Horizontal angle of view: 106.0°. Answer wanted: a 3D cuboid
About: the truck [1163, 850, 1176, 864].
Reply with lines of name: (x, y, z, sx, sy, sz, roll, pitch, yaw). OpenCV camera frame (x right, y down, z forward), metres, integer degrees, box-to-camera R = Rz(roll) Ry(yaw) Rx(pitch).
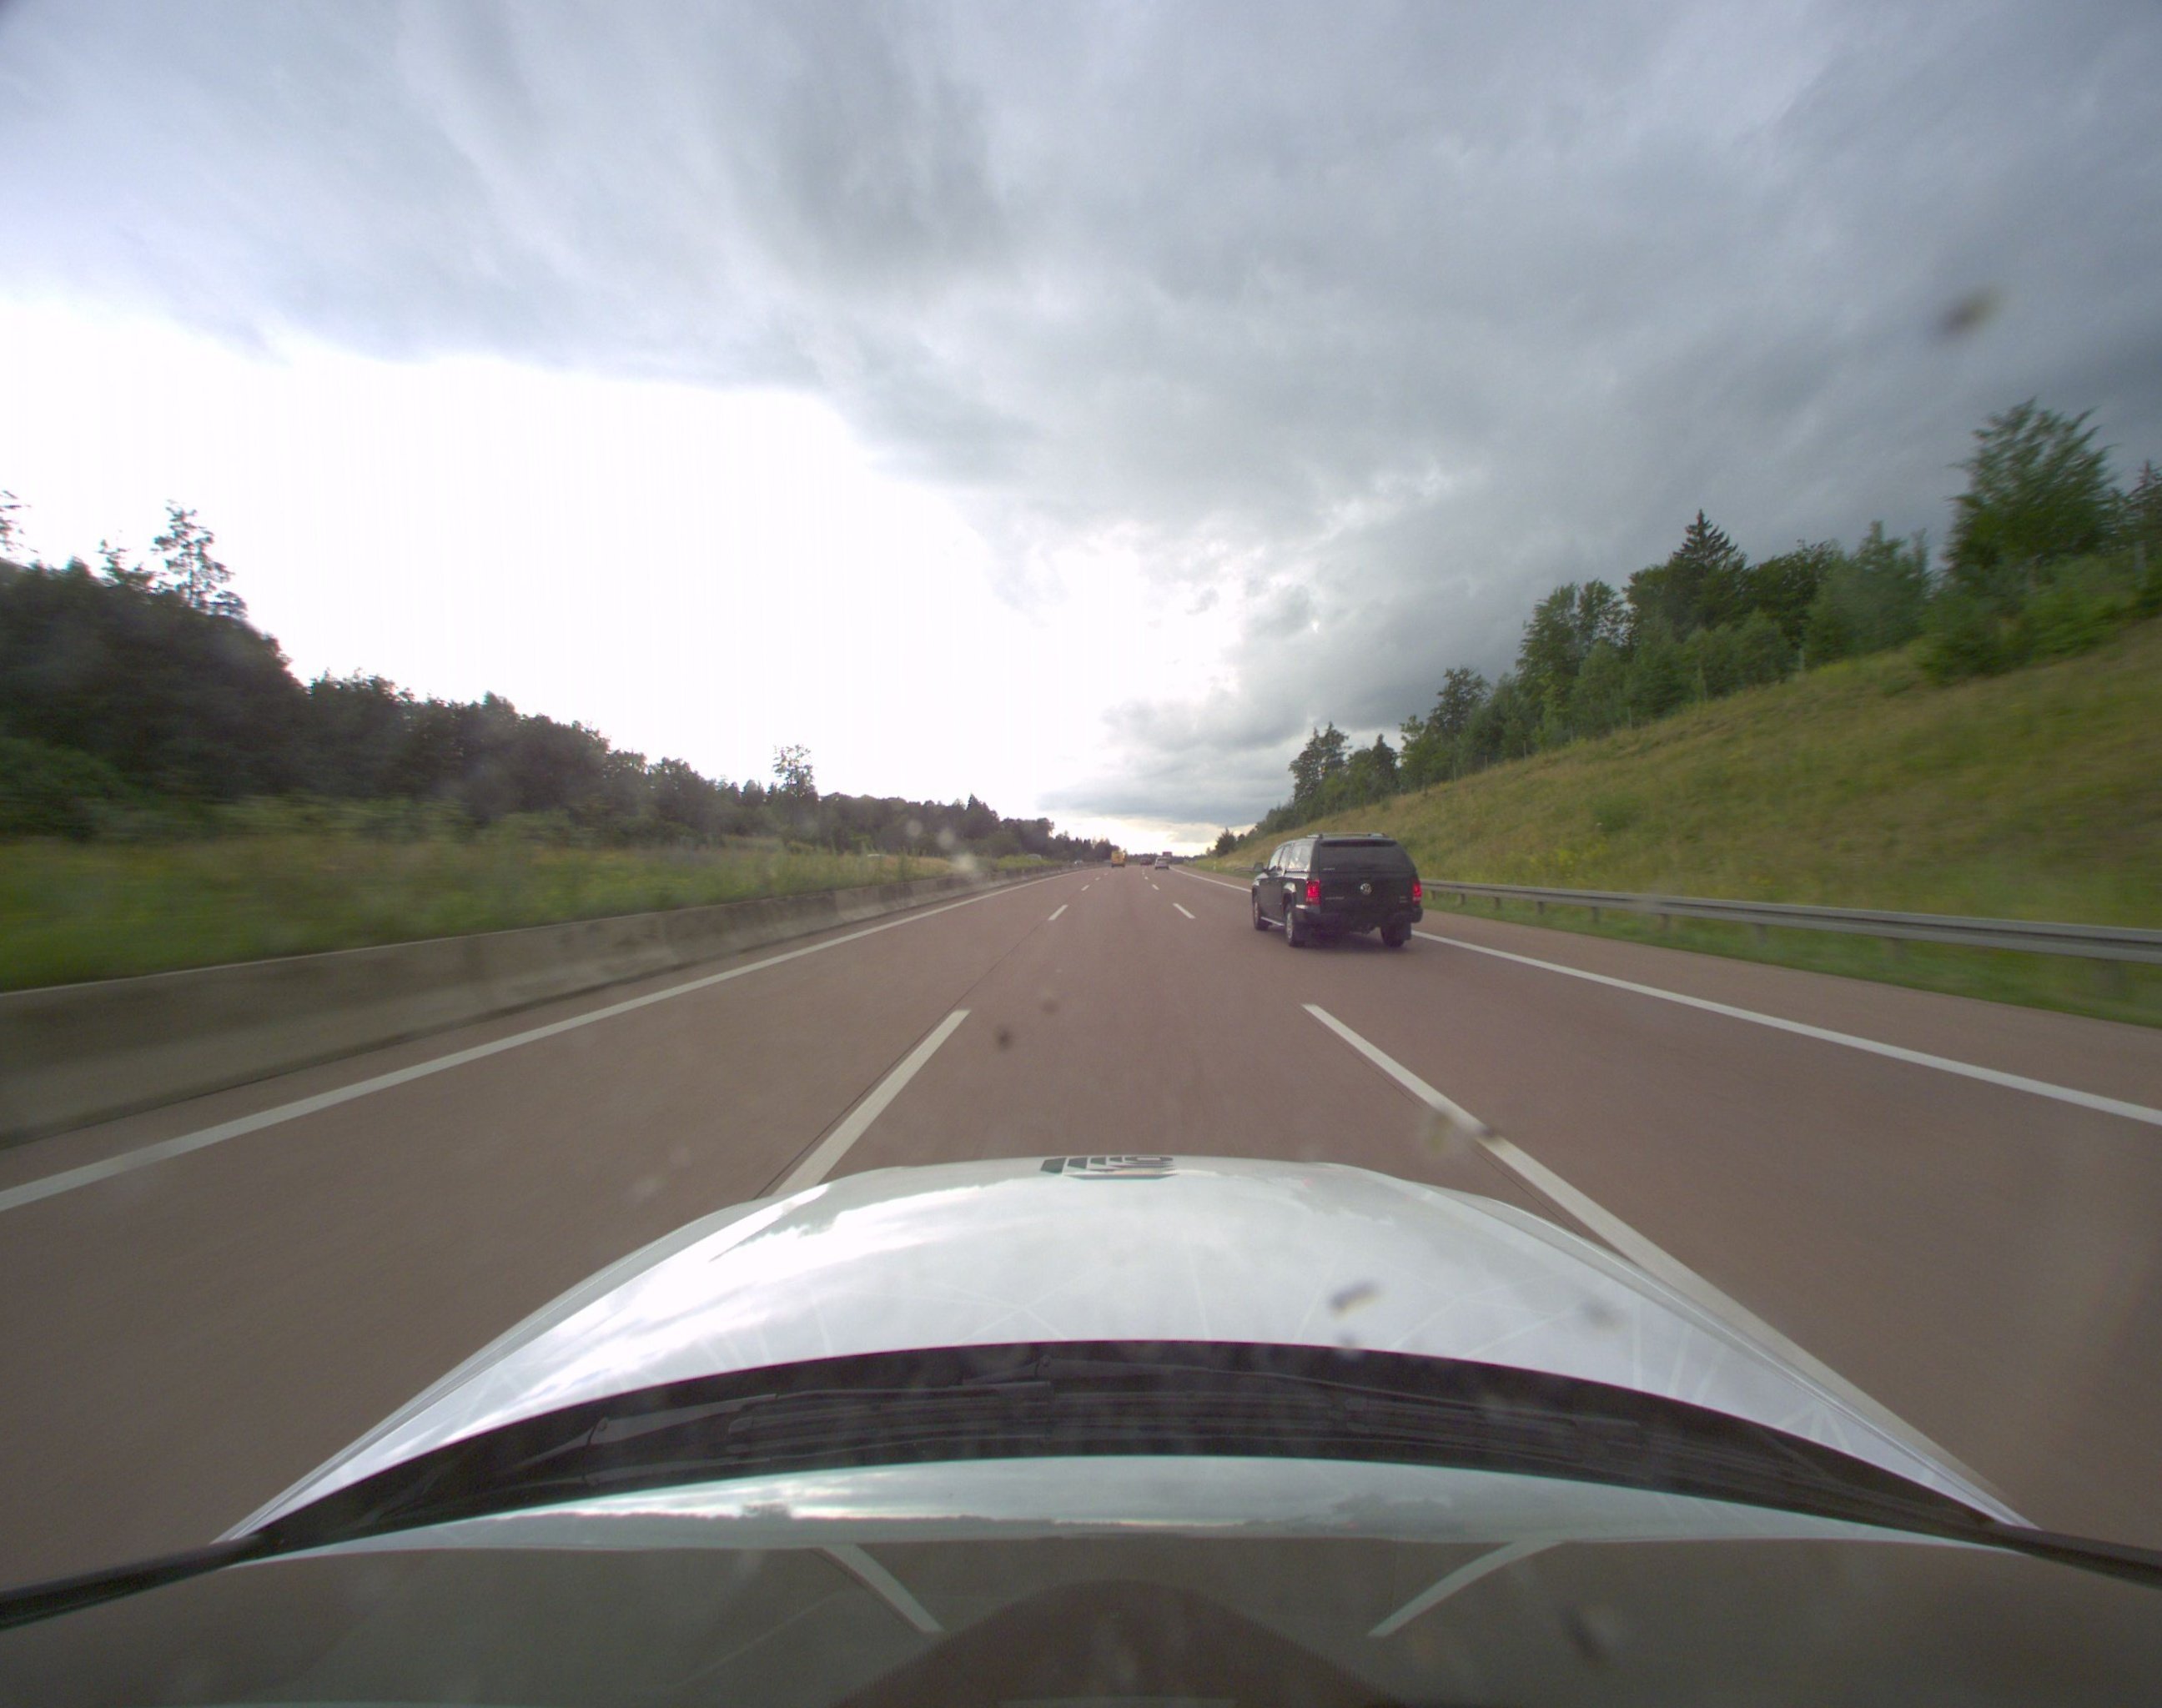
truck: (27.431, 0.999, 252.668, 3.662, 3.913, 12.835, 0, -2, 6)

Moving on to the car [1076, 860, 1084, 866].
car: (-0.243, 2.408, 208.880, 1.724, 1.525, 4.418, 0, -2, 5)

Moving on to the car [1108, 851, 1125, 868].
car: (5.967, 0.941, 135.333, 2.446, 2.706, 5.622, -2, -1, 5)

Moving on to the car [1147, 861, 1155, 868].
car: (17.992, 2.658, 210.017, 1.878, 1.764, 5.006, -2, -1, 6)

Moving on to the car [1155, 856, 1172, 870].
car: (10.449, 1.118, 102.609, 1.967, 1.648, 4.628, 0, -1, 7)

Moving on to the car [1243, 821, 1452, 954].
car: (4.457, 0.535, 14.728, 2.037, 1.897, 5.578, -1, -1, 1)

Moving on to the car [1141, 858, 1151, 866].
car: (14.282, 1.812, 178.077, 1.878, 1.764, 4.790, -2, -1, 6)
